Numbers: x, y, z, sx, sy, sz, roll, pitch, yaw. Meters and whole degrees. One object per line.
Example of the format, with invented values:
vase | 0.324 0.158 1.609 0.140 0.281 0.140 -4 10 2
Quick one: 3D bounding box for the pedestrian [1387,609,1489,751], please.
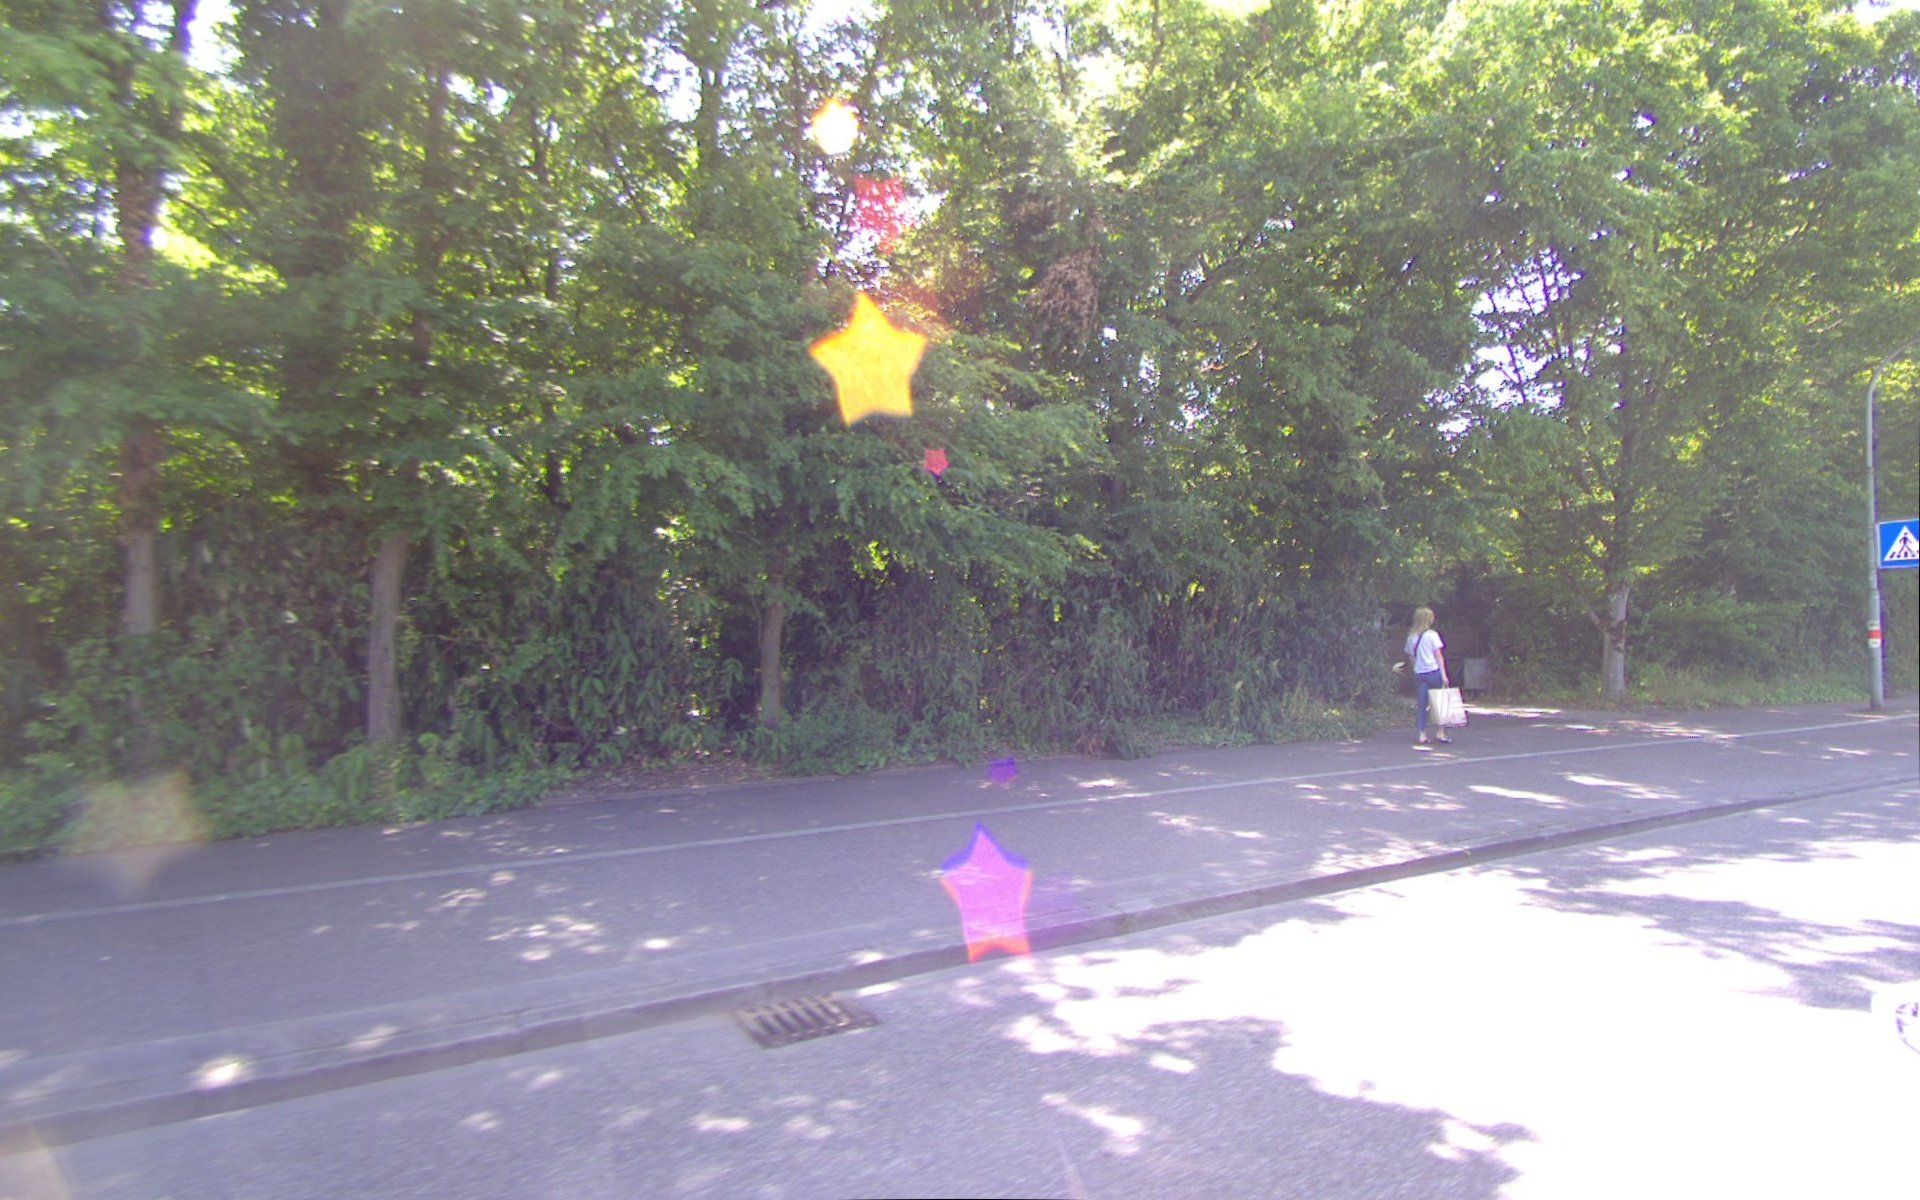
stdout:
pedestrian | 5.813 0.932 12.234 0.774 1.644 0.824 0 0 -32
